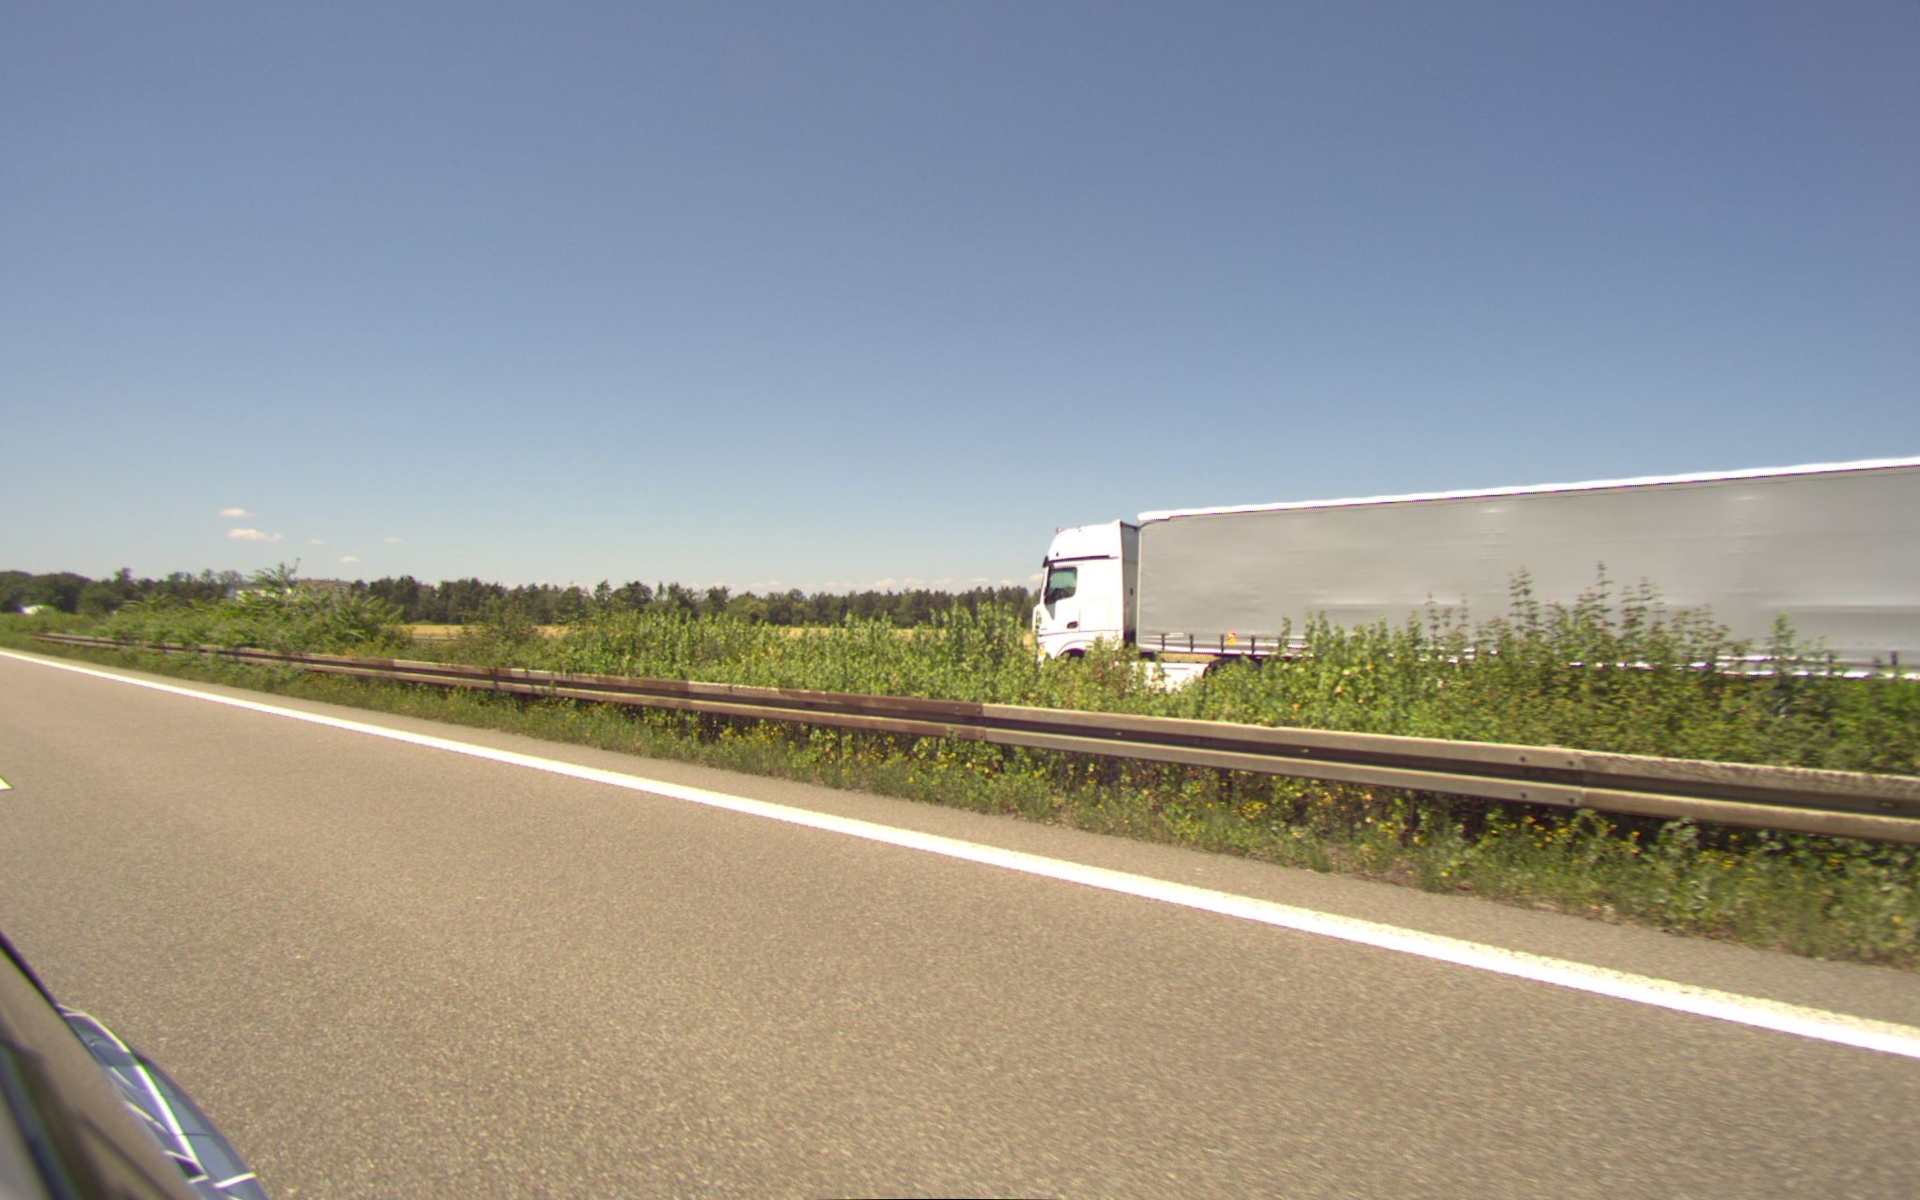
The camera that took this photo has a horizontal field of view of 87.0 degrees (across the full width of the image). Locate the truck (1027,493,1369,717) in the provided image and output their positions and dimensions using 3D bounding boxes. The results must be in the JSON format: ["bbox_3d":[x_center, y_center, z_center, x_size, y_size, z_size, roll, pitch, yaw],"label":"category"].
[{"bbox_3d":[4.936,0.112,21.769,6.536,4.093,2.921,-1,0,41],"label":"truck"}]

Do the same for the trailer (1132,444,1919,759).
[{"bbox_3d":[9.906,0.048,17.376,14.319,4.089,2.924,-1,0,41],"label":"trailer"}]

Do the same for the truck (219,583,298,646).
[{"bbox_3d":[-47.358,0.949,68.280,5.915,4.089,3.027,-1,0,41],"label":"truck"}]

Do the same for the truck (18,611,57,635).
[{"bbox_3d":[-127.587,3.166,139.936,13.115,3.147,2.542,-1,0,41],"label":"truck"}]

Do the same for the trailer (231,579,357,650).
[{"bbox_3d":[-42.049,0.878,63.590,13.950,4.089,3.026,-1,0,41],"label":"trailer"}]

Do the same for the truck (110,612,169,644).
[{"bbox_3d":[-59.439,2.012,73.269,6.570,2.169,2.224,-1,0,41],"label":"truck"}]
